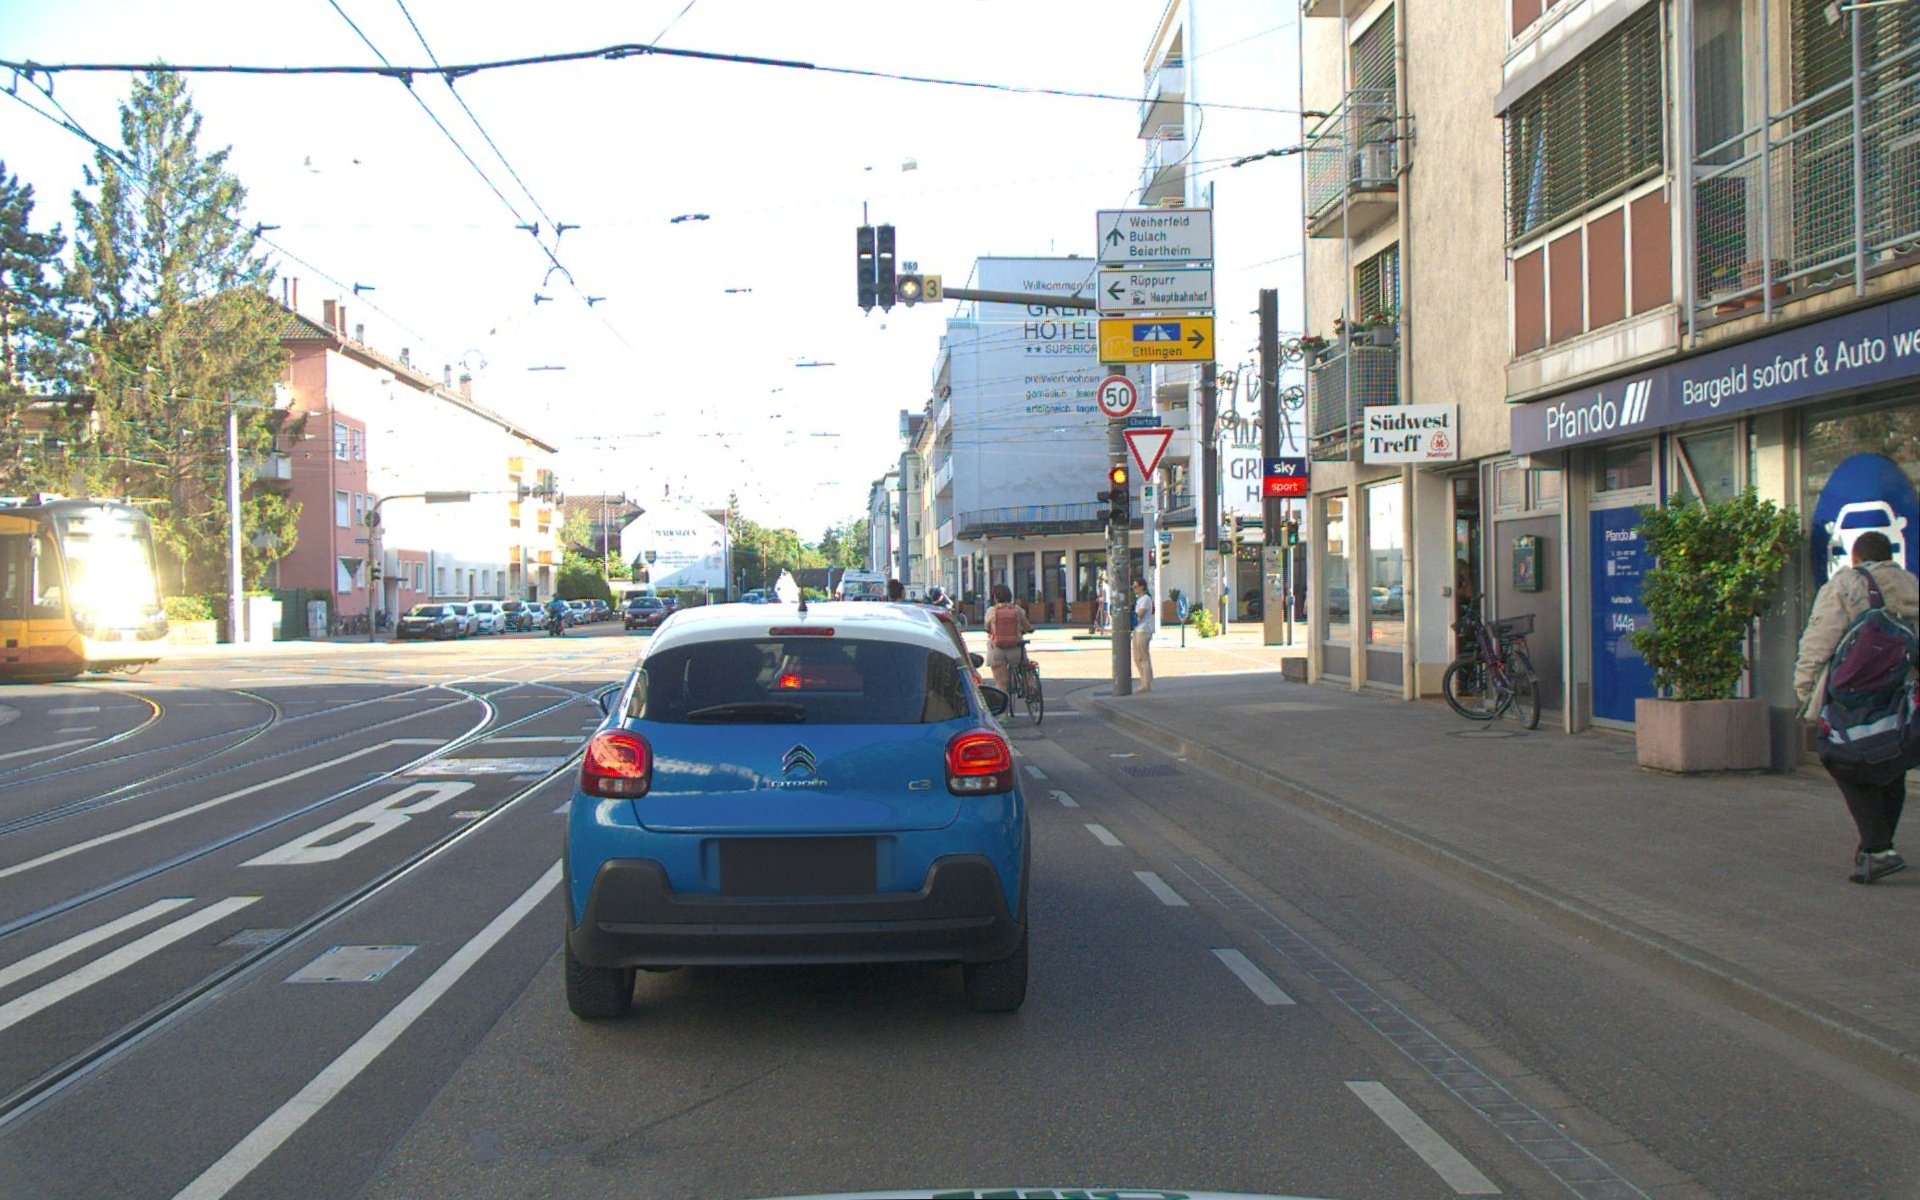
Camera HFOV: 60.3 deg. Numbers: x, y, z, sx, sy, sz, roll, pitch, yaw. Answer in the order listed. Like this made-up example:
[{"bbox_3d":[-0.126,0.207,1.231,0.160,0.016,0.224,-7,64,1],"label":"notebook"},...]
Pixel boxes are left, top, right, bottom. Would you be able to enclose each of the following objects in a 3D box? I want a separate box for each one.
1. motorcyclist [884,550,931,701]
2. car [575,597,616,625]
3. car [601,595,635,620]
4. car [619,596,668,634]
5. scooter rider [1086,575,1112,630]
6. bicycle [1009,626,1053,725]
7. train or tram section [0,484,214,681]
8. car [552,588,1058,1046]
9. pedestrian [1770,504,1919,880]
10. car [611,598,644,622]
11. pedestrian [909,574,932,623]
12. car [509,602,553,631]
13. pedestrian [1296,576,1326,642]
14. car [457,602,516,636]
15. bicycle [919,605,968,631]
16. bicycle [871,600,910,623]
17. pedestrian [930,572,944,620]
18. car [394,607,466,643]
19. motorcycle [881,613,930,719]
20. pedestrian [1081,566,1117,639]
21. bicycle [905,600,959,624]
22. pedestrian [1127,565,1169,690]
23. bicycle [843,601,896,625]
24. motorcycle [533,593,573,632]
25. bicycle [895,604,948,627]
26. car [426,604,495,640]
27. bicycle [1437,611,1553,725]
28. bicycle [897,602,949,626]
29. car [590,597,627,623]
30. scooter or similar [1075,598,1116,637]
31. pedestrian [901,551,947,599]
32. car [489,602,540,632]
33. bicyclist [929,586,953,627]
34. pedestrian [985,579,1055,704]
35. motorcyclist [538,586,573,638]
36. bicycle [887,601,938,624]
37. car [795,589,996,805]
[{"bbox_3d":[-0.611,0.295,19.594,0.516,1.746,0.717,1,-1,-1],"label":"motorcyclist"},{"bbox_3d":[-23.350,0.695,106.089,1.944,1.716,3.997,1,0,-4],"label":"car"},{"bbox_3d":[-24.017,0.533,116.224,1.797,1.716,3.997,1,0,-4],"label":"car"},{"bbox_3d":[-14.545,0.688,76.190,1.740,1.695,3.853,1,0,-4],"label":"car"},{"bbox_3d":[4.834,0.080,57.456,0.707,1.864,0.718,-1,0,17],"label":"scooter rider"},{"bbox_3d":[0.871,0.912,20.576,0.419,1.142,1.998,1,0,-1],"label":"bicycle"},{"bbox_3d":[-21.275,-0.255,34.854,12.344,3.656,3.069,-1,0,27],"label":"train or tram section"},{"bbox_3d":[-0.526,0.716,7.150,1.620,1.469,3.522,1,0,-1],"label":"car"},{"bbox_3d":[4.283,0.403,7.527,0.808,1.620,0.751,1,-1,-1],"label":"pedestrian"},{"bbox_3d":[-24.263,0.705,120.867,1.809,1.716,3.871,1,0,-4],"label":"car"},{"bbox_3d":[-1.659,-0.063,69.100,0.625,2.049,0.715,1,-1,-37],"label":"pedestrian"},{"bbox_3d":[-23.754,0.913,91.713,1.699,1.524,3.996,1,0,-5],"label":"car"},{"bbox_3d":[8.842,0.221,41.639,0.720,1.629,0.749,1,-1,12],"label":"pedestrian"},{"bbox_3d":[-22.604,0.882,79.100,1.751,1.537,4.148,1,0,-2],"label":"car"},{"bbox_3d":[-0.617,0.668,62.231,1.814,0.919,0.350,1,-1,19],"label":"bicycle"},{"bbox_3d":[-2.916,0.481,69.409,1.751,0.917,0.365,1,-1,34],"label":"bicycle"},{"bbox_3d":[-0.969,-0.163,70.155,0.565,2.049,0.625,1,-1,-3],"label":"pedestrian"},{"bbox_3d":[-21.919,1.009,68.483,1.757,1.446,3.994,1,0,-2],"label":"car"},{"bbox_3d":[-0.619,0.737,19.404,0.515,1.159,2.289,1,0,-1],"label":"motorcycle"},{"bbox_3d":[3.952,0.075,46.982,0.907,2.049,0.759,1,-1,-1],"label":"pedestrian"},{"bbox_3d":[-1.111,0.485,66.068,2.093,0.917,0.366,1,-1,-10],"label":"bicycle"},{"bbox_3d":[2.764,0.401,24.381,0.507,1.814,0.595,1,-1,-3],"label":"pedestrian"},{"bbox_3d":[-3.616,0.530,66.228,2.093,0.917,0.366,1,-1,-10],"label":"bicycle"},{"bbox_3d":[-16.380,0.511,66.626,0.905,1.512,3.723,1,0,-4],"label":"motorcycle"},{"bbox_3d":[-1.569,0.628,67.512,2.093,0.917,0.366,1,-1,-10],"label":"bicycle"},{"bbox_3d":[-22.260,0.955,73.875,1.778,1.524,4.299,1,0,-1],"label":"car"},{"bbox_3d":[5.089,0.620,15.822,0.531,1.016,1.705,1,0,-1],"label":"bicycle"},{"bbox_3d":[-1.507,0.570,67.077,2.093,0.917,0.366,1,-1,-10],"label":"bicycle"},{"bbox_3d":[-23.571,0.676,110.958,1.845,1.716,3.997,1,0,-4],"label":"car"},{"bbox_3d":[4.722,0.609,57.487,1.321,1.291,0.444,-1,0,17],"label":"scooter or similar"},{"bbox_3d":[-1.604,-1.080,73.512,1.953,2.049,3.999,1,0,-1],"label":"pedestrian"},{"bbox_3d":[-23.053,0.861,85.732,1.750,1.524,3.997,1,0,-4],"label":"car"},{"bbox_3d":[-0.721,0.246,62.311,0.730,1.503,0.563,1,-1,18],"label":"bicyclist"},{"bbox_3d":[0.727,0.497,20.204,0.762,1.486,0.681,1,-1,-4],"label":"pedestrian"},{"bbox_3d":[-16.382,0.481,67.007,1.162,2.049,1.274,-1,0,-4],"label":"motorcyclist"},{"bbox_3d":[-1.962,0.505,68.254,2.093,0.917,0.366,1,-1,-10],"label":"bicycle"},{"bbox_3d":[-0.477,0.691,13.149,1.395,1.493,2.923,-1,0,-1],"label":"car"}]
